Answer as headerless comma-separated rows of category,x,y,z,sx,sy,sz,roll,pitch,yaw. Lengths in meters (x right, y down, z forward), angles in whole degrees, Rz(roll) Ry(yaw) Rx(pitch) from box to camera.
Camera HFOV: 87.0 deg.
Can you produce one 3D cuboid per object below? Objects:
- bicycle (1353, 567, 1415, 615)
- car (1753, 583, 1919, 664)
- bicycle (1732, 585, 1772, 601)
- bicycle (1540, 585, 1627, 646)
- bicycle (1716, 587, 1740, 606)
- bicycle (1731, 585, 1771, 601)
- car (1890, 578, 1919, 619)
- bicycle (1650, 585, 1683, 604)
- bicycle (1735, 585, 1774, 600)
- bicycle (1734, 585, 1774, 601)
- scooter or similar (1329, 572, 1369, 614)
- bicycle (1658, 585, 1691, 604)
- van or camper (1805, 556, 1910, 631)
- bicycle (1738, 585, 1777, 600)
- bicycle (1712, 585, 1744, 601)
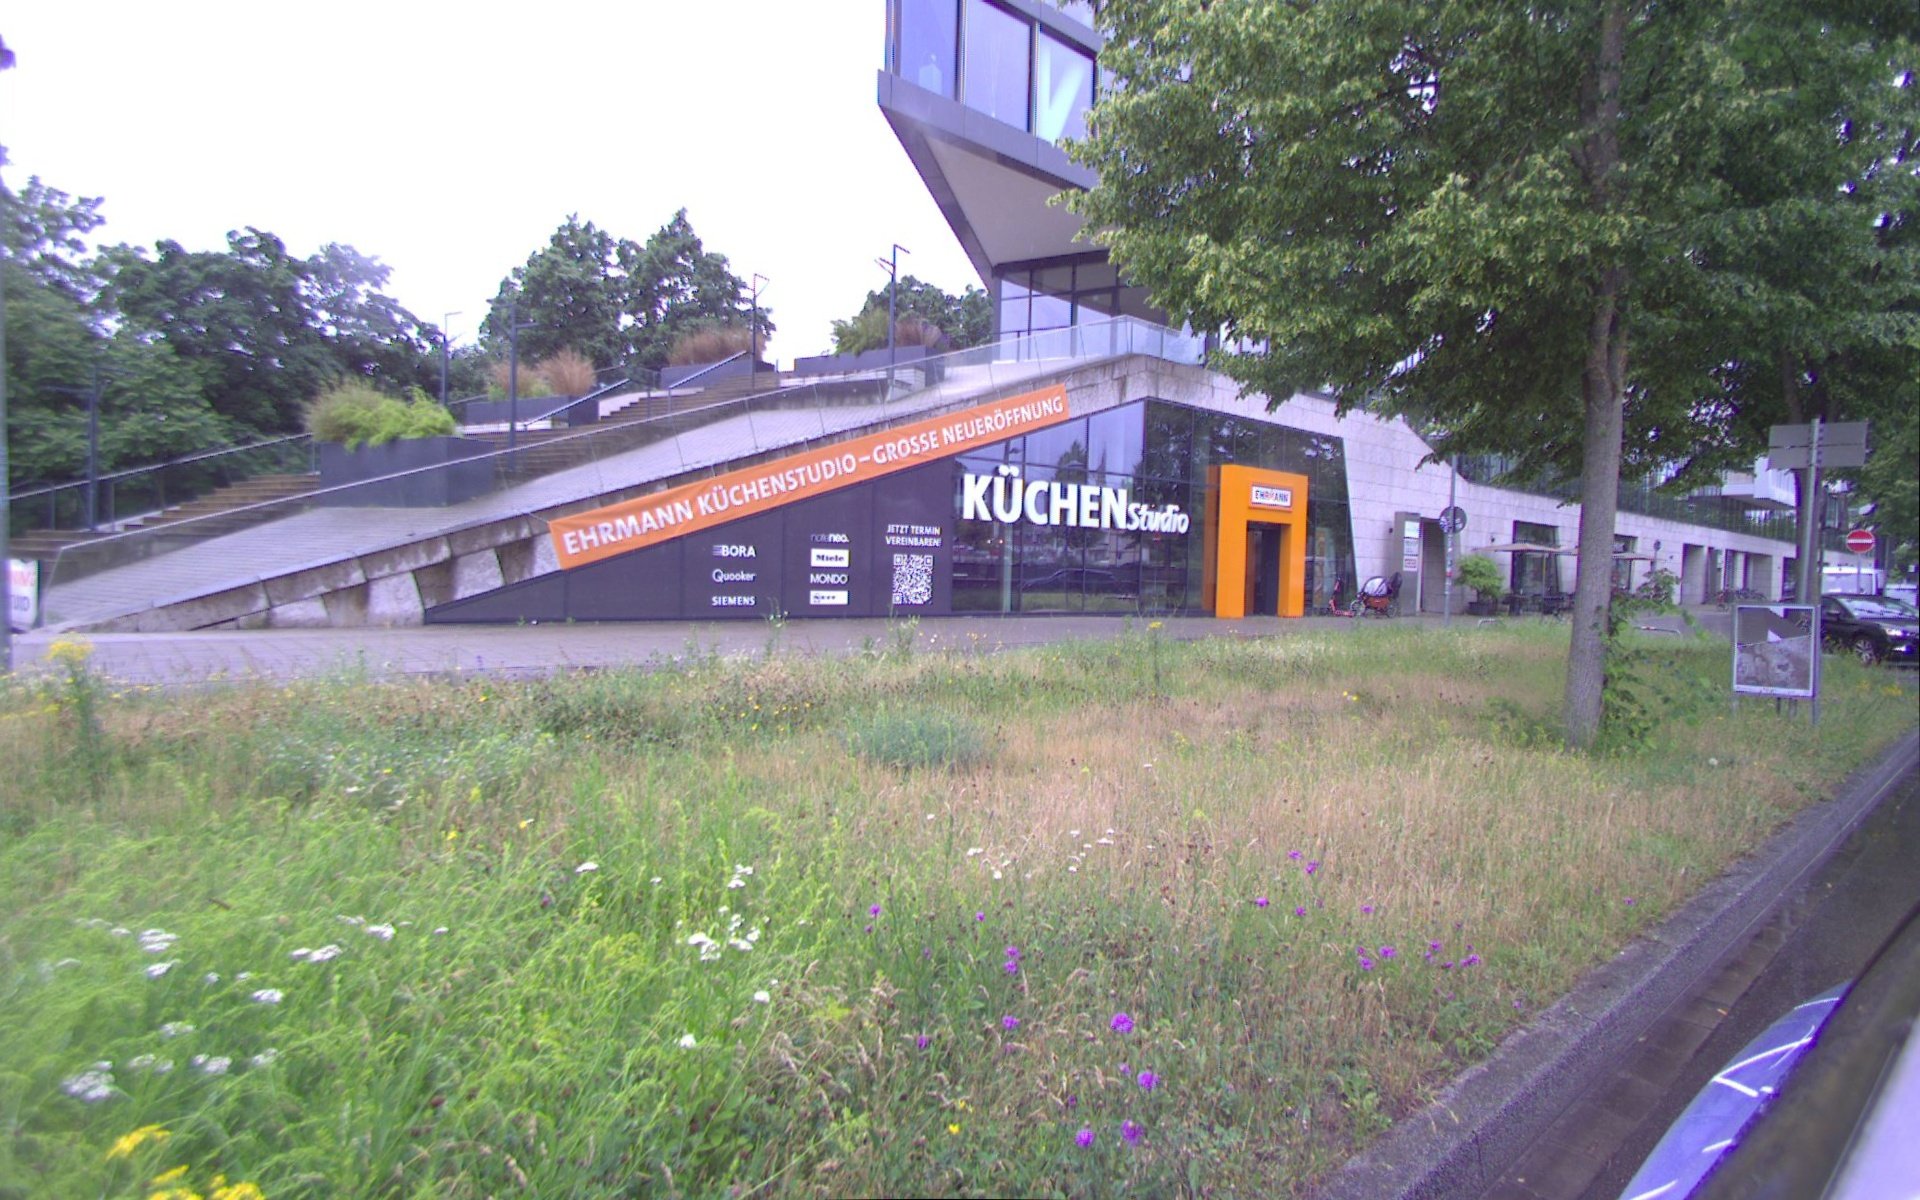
bicycle,13.302,-0.275,31.733,2.382,1.419,0.734,0,3,-41
car,18.701,0.412,20.789,1.802,1.437,4.338,1,2,7
bicycle,53.106,-0.482,67.876,0.389,0.957,2.025,-1,4,-45
bicycle,14.595,0.344,23.747,0.521,1.363,1.852,2,0,-15
bicycle,40.036,-0.174,52.735,1.823,0.957,0.403,-1,2,-34
bicycle,52.643,-0.473,67.363,0.389,0.957,2.025,-1,4,-45
car,43.595,-0.110,45.827,4.766,1.781,1.744,-1,2,-42
bicycle,36.632,-0.282,52.498,0.388,0.958,2.028,-1,1,4
bicycle,53.932,-0.506,68.682,0.389,0.957,2.025,-1,4,-45
bicycle,53.545,-0.486,68.263,0.389,0.957,2.025,-1,4,-45
scooter or similar,11.777,-0.214,30.662,1.214,1.243,0.343,-1,0,-22
bicycle,37.253,-0.293,52.808,0.388,0.958,2.028,-1,1,4
van or camper,30.186,-0.258,33.987,5.367,2.320,2.028,-1,2,-42
bicycle,54.795,-0.514,69.558,0.389,0.957,2.025,-1,4,-45
bicycle,49.596,-0.458,65.337,0.339,0.957,1.665,1,3,-22
